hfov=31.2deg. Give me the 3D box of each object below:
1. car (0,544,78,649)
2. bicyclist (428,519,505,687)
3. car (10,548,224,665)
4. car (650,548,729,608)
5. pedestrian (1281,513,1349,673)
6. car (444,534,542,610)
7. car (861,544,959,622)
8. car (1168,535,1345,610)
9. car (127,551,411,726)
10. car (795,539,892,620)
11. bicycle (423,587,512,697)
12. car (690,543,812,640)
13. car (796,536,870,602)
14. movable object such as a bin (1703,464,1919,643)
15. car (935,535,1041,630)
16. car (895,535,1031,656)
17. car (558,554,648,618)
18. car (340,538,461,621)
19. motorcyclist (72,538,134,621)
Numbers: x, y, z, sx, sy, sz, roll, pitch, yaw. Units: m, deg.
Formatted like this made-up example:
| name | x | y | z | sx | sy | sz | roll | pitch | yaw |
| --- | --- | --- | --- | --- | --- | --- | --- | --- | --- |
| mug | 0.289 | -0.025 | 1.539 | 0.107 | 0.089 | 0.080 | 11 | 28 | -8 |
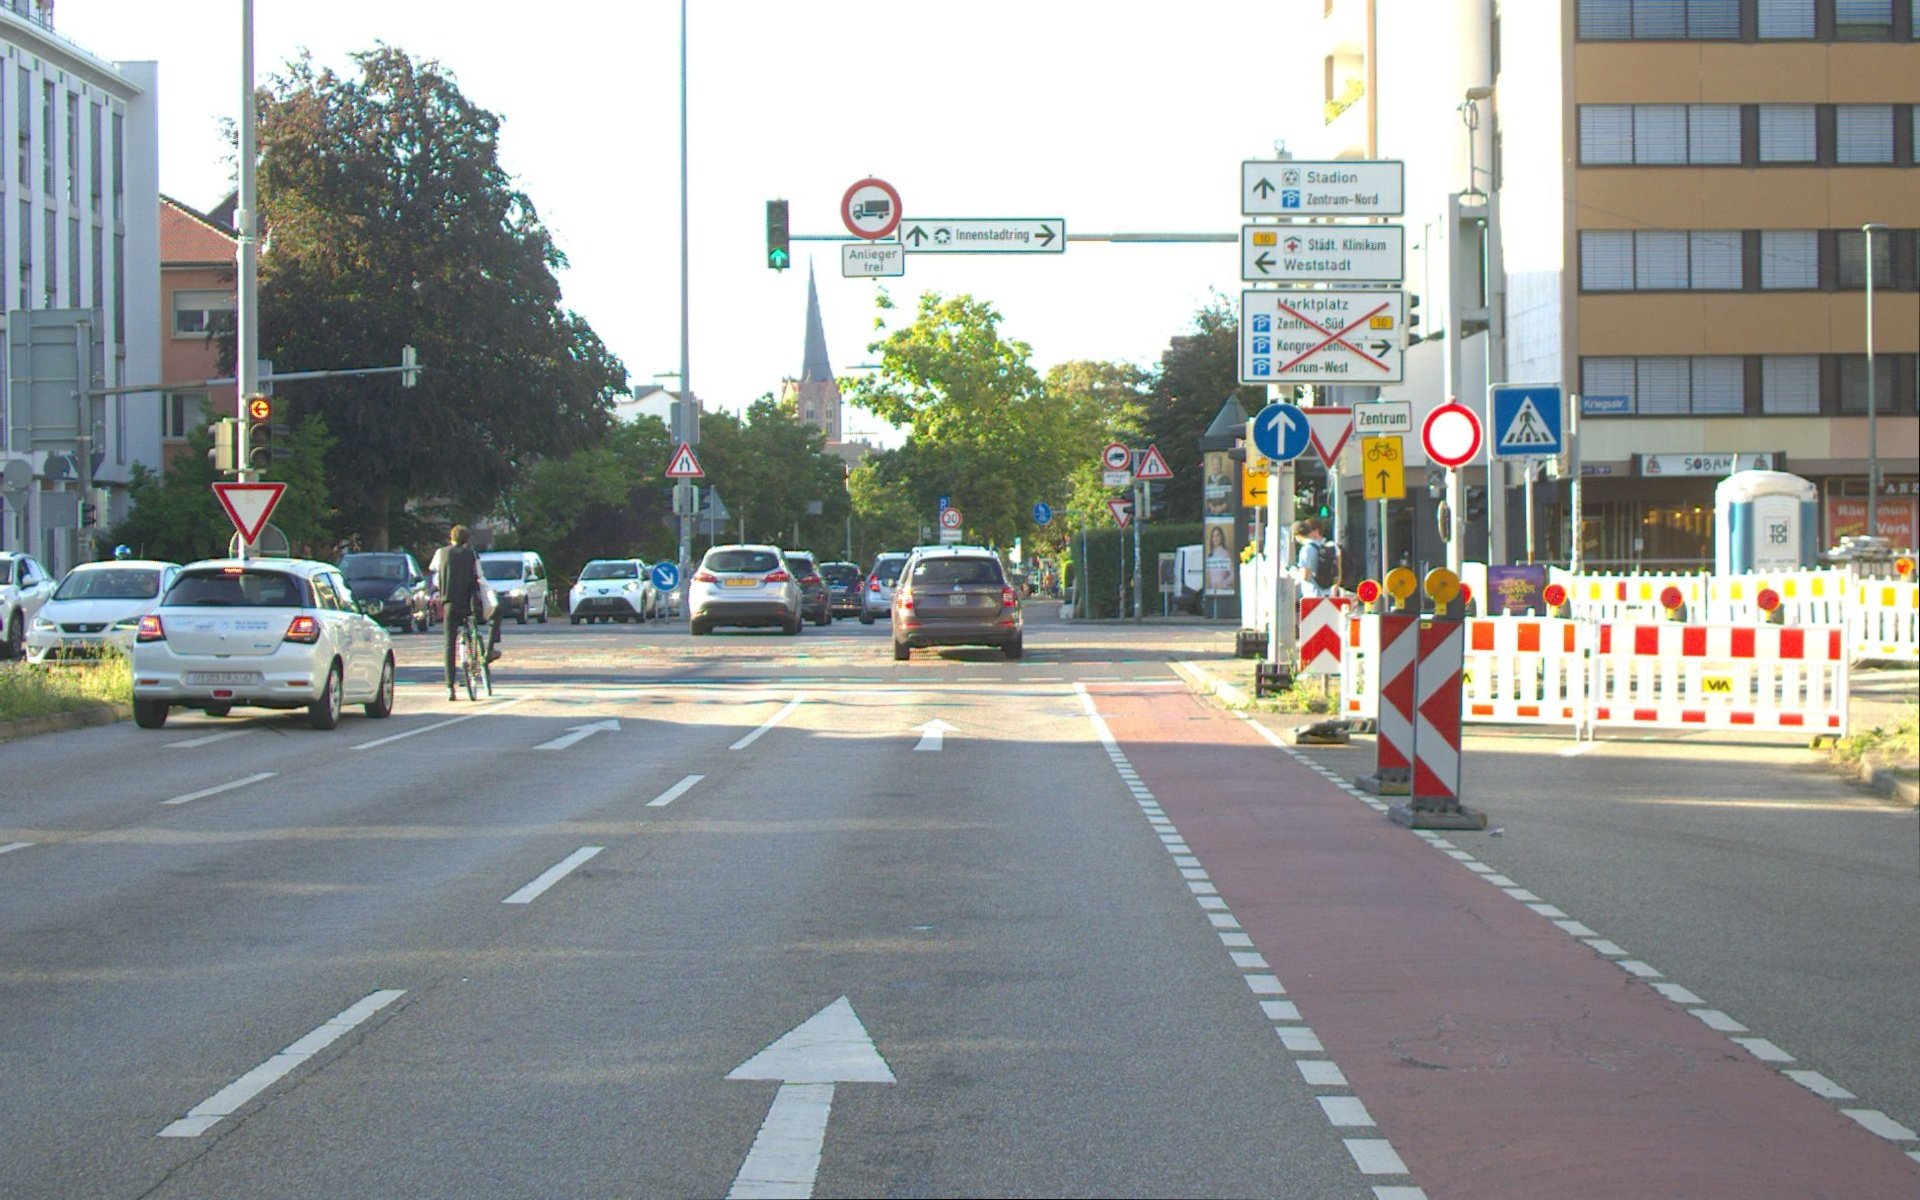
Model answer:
| name | x | y | z | sx | sy | sz | roll | pitch | yaw |
| --- | --- | --- | --- | --- | --- | --- | --- | --- | --- |
| car | -14.502 | -0.080 | 51.136 | 1.685 | 1.493 | 4.515 | 0 | 1 | -1 |
| bicyclist | -5.159 | 0.023 | 35.988 | 0.691 | 1.722 | 0.988 | -1 | 1 | -3 |
| car | -10.653 | 0.043 | 43.703 | 1.685 | 1.387 | 4.181 | 0 | 1 | 0 |
| car | -6.820 | -0.566 | 87.002 | 1.847 | 1.456 | 4.050 | -1 | 1 | -2 |
| pedestrian | 4.045 | -0.084 | 39.146 | 0.741 | 1.793 | 0.715 | 0 | 1 | 6 |
| car | -11.438 | -0.707 | 84.469 | 1.915 | 1.805 | 4.718 | -1 | 1 | -2 |
| car | -1.070 | -0.342 | 73.892 | 1.993 | 1.503 | 4.000 | -2 | -1 | -1 |
| car | 7.635 | -0.720 | 88.892 | 4.363 | 1.871 | 2.000 | -1 | 1 | -1 |
| car | -6.151 | 0.295 | 31.027 | 1.685 | 1.452 | 4.000 | 0 | 1 | 1 |
| car | -2.306 | -0.432 | 68.891 | 1.748 | 1.559 | 4.050 | -1 | 1 | 1 |
| bicycle | -5.160 | 0.424 | 36.124 | 0.699 | 1.096 | 2.258 | -1 | 1 | -2 |
| car | -3.487 | -0.166 | 57.928 | 1.748 | 1.559 | 4.050 | -1 | 1 | 1 |
| car | -3.247 | -0.807 | 88.246 | 1.664 | 1.652 | 4.000 | -1 | 1 | 1 |
| movable object such as a bin | 11.952 | -0.631 | 46.781 | 3.328 | 2.375 | 1.529 | -1 | 1 | 0 |
| car | 0.479 | -0.340 | 61.962 | 1.819 | 1.634 | 4.000 | -1 | 1 | -1 |
| car | 0.070 | -0.094 | 46.748 | 1.748 | 1.559 | 4.050 | -1 | 1 | 1 |
| car | -8.391 | -0.351 | 81.017 | 1.847 | 1.456 | 4.050 | -1 | 1 | -2 |
| car | -10.365 | -0.398 | 63.935 | 1.658 | 1.489 | 4.000 | 0 | 1 | -1 |
| motorcyclist | -14.797 | -0.356 | 59.389 | 0.770 | 1.414 | 1.238 | 0 | 1 | -2 |
